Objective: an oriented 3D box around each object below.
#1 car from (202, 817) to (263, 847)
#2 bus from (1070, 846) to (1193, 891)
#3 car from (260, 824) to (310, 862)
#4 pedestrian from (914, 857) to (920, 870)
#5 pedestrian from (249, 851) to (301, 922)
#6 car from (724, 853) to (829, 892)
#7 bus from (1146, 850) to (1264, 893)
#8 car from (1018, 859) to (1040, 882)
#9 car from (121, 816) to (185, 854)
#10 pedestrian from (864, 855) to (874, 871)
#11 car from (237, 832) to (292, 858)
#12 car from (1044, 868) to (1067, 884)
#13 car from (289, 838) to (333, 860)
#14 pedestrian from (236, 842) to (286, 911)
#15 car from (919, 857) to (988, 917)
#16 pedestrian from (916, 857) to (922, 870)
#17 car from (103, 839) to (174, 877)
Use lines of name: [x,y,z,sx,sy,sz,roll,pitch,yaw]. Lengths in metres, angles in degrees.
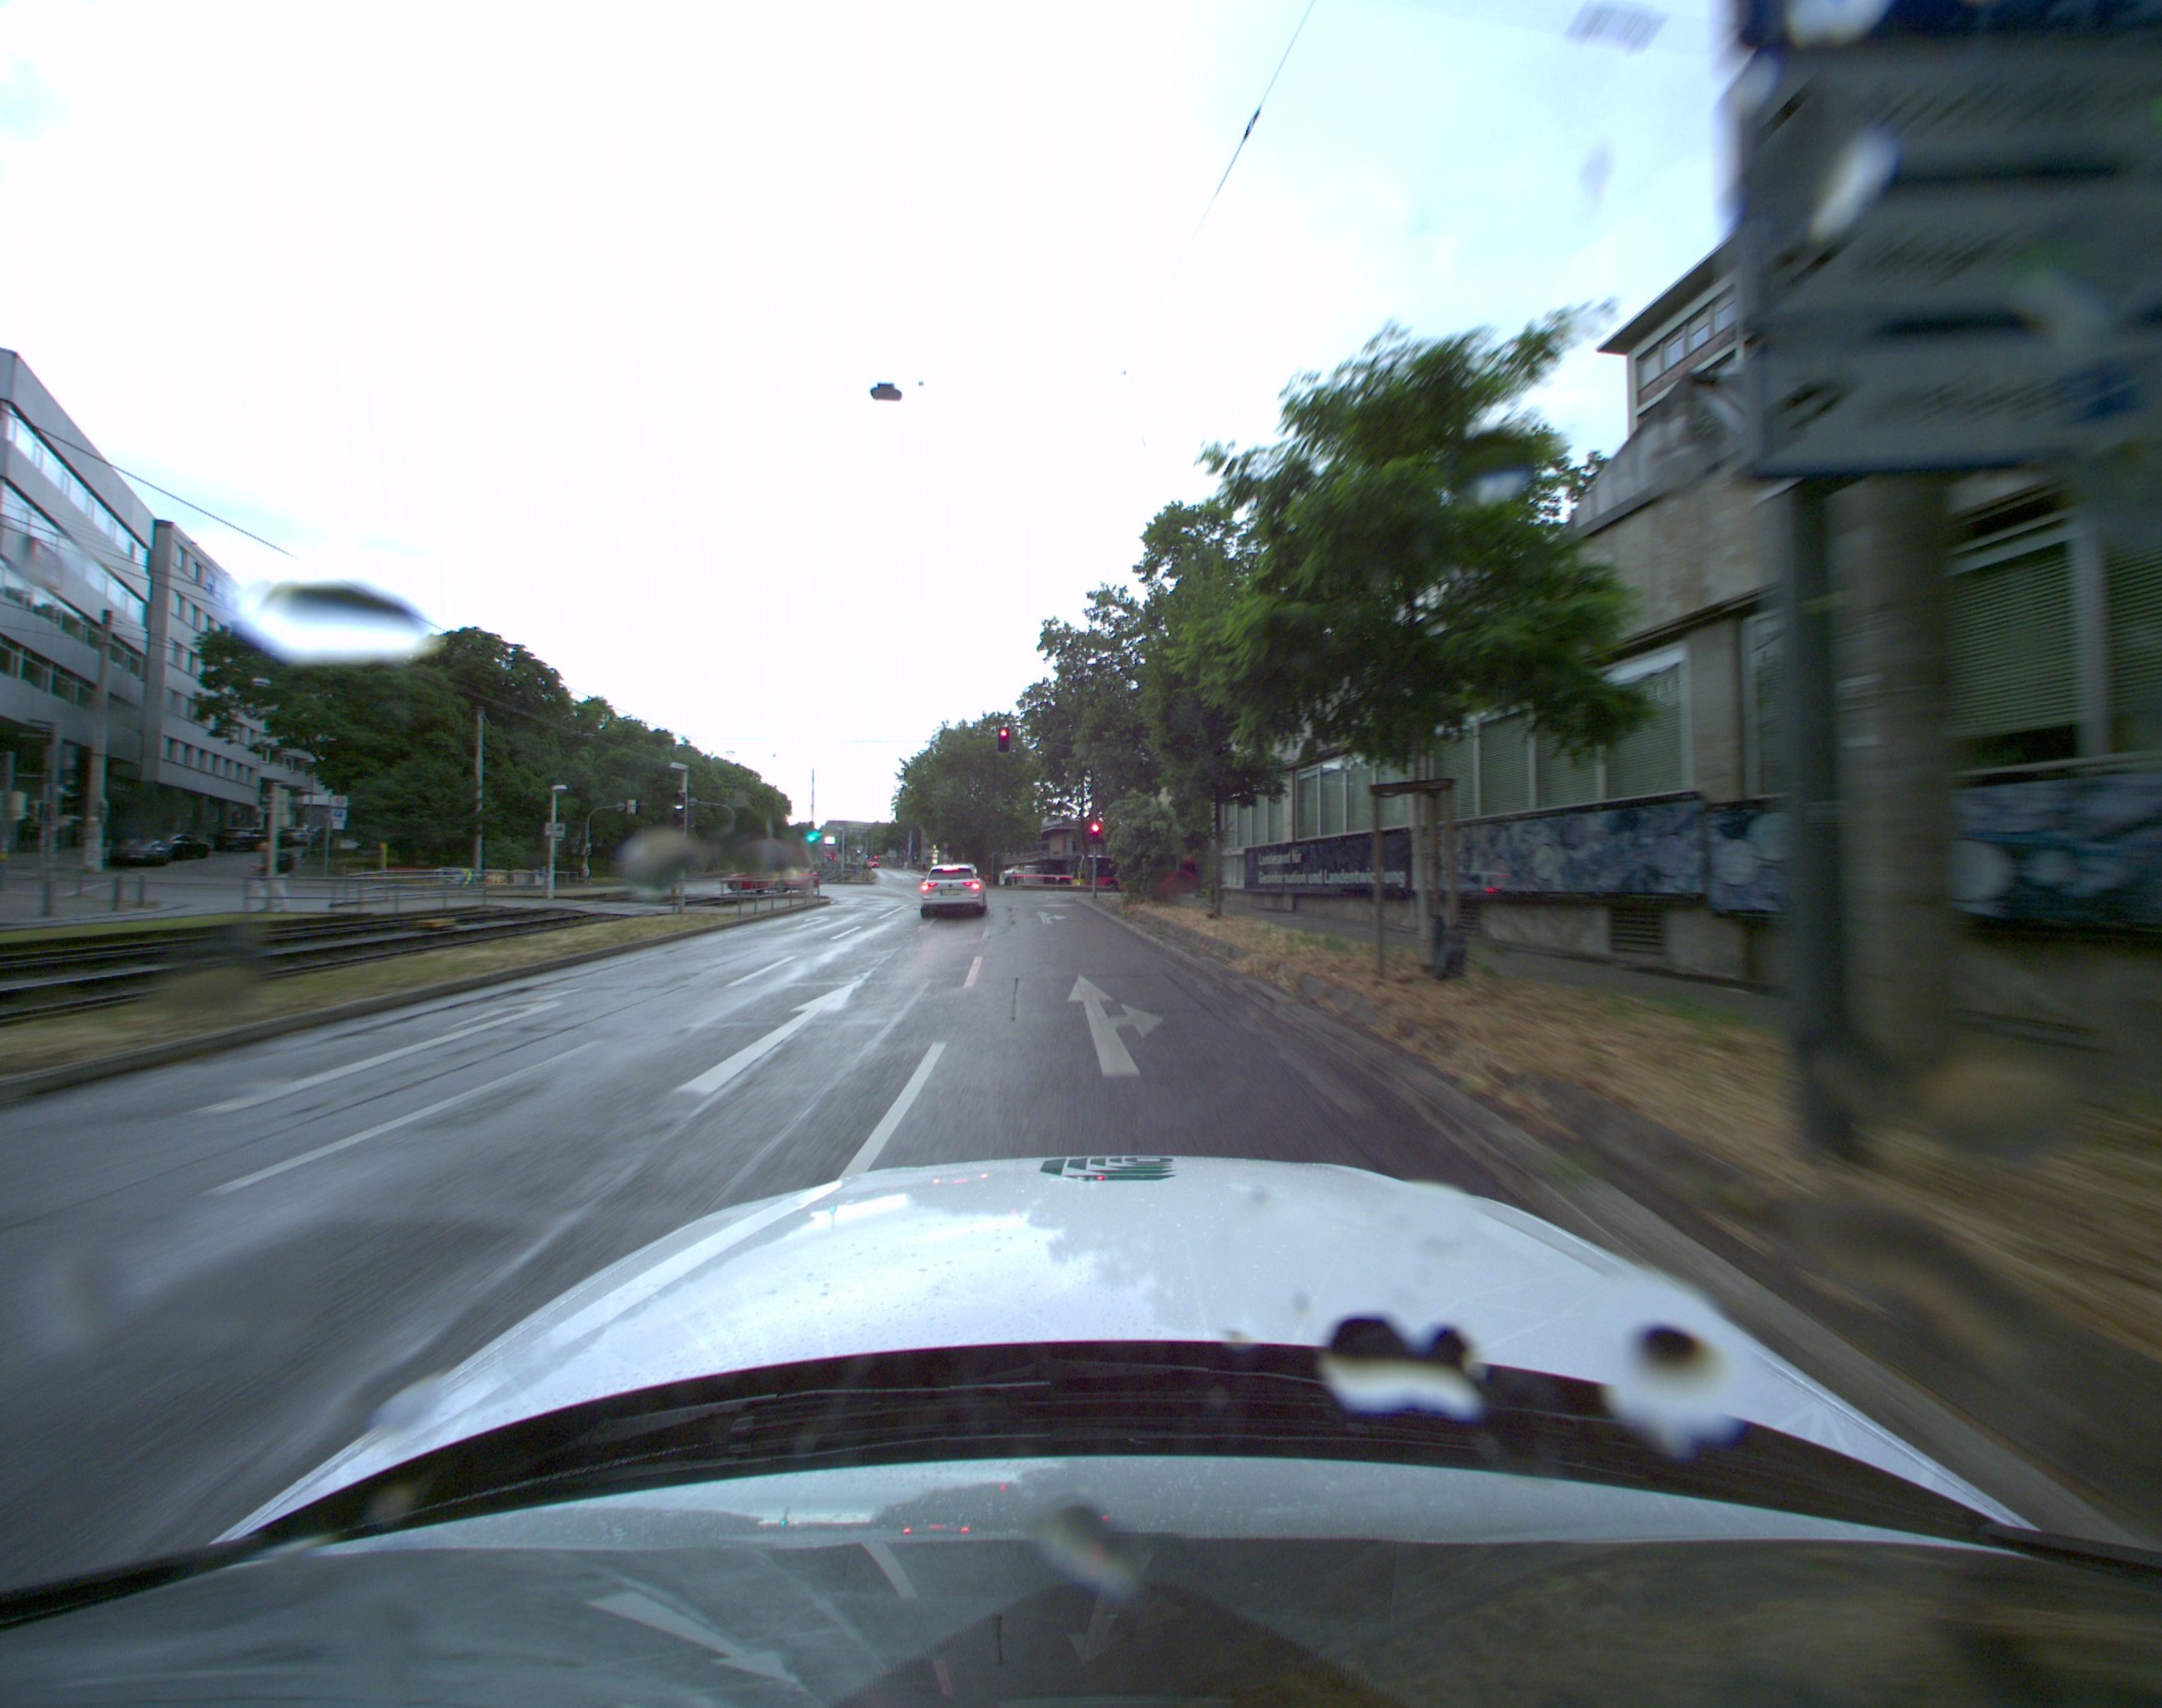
car: [-58.034,-1.471,55.781,2.008,1.794,4.165,3,-2,-34]
bus: [4.036,1.173,65.102,9.433,3.111,2.547,3,-2,-13]
car: [-65.548,-0.854,67.141,2.007,2.998,4.167,3,-2,-33]
pedestrian: [-24.413,1.397,121.523,0.758,1.824,0.696,3,-2,-18]
pedestrian: [-20.797,0.825,21.035,0.642,1.788,0.803,3,-2,-28]
car: [-14.535,0.884,38.893,4.365,1.640,1.997,2,-2,21]
bus: [10.111,1.449,66.550,9.166,3.111,2.651,3,-2,-14]
car: [-7.323,2.351,114.291,2.544,3.134,5.013,3,-2,-10]
car: [-51.702,-1.071,45.435,3.952,1.793,2.011,5,1,45]
pedestrian: [-22.039,0.921,84.661,0.735,1.640,0.870,2,-2,-1]
car: [-62.649,-0.657,62.568,2.007,1.794,4.167,3,-2,-33]
car: [-3.421,2.864,108.496,1.998,2.014,3.977,3,-2,-17]
car: [-68.168,-0.449,72.164,2.007,1.794,4.167,3,-2,-33]
pedestrian: [-22.000,0.599,21.857,0.642,1.788,0.803,3,-2,-28]
car: [-3.618,0.876,23.708,1.676,1.576,4.246,0,0,-5]
pedestrian: [-24.486,1.432,122.821,0.758,1.824,0.696,3,-2,-18]
car: [-48.141,0.213,41.682,3.950,1.794,2.011,0,-3,45]
